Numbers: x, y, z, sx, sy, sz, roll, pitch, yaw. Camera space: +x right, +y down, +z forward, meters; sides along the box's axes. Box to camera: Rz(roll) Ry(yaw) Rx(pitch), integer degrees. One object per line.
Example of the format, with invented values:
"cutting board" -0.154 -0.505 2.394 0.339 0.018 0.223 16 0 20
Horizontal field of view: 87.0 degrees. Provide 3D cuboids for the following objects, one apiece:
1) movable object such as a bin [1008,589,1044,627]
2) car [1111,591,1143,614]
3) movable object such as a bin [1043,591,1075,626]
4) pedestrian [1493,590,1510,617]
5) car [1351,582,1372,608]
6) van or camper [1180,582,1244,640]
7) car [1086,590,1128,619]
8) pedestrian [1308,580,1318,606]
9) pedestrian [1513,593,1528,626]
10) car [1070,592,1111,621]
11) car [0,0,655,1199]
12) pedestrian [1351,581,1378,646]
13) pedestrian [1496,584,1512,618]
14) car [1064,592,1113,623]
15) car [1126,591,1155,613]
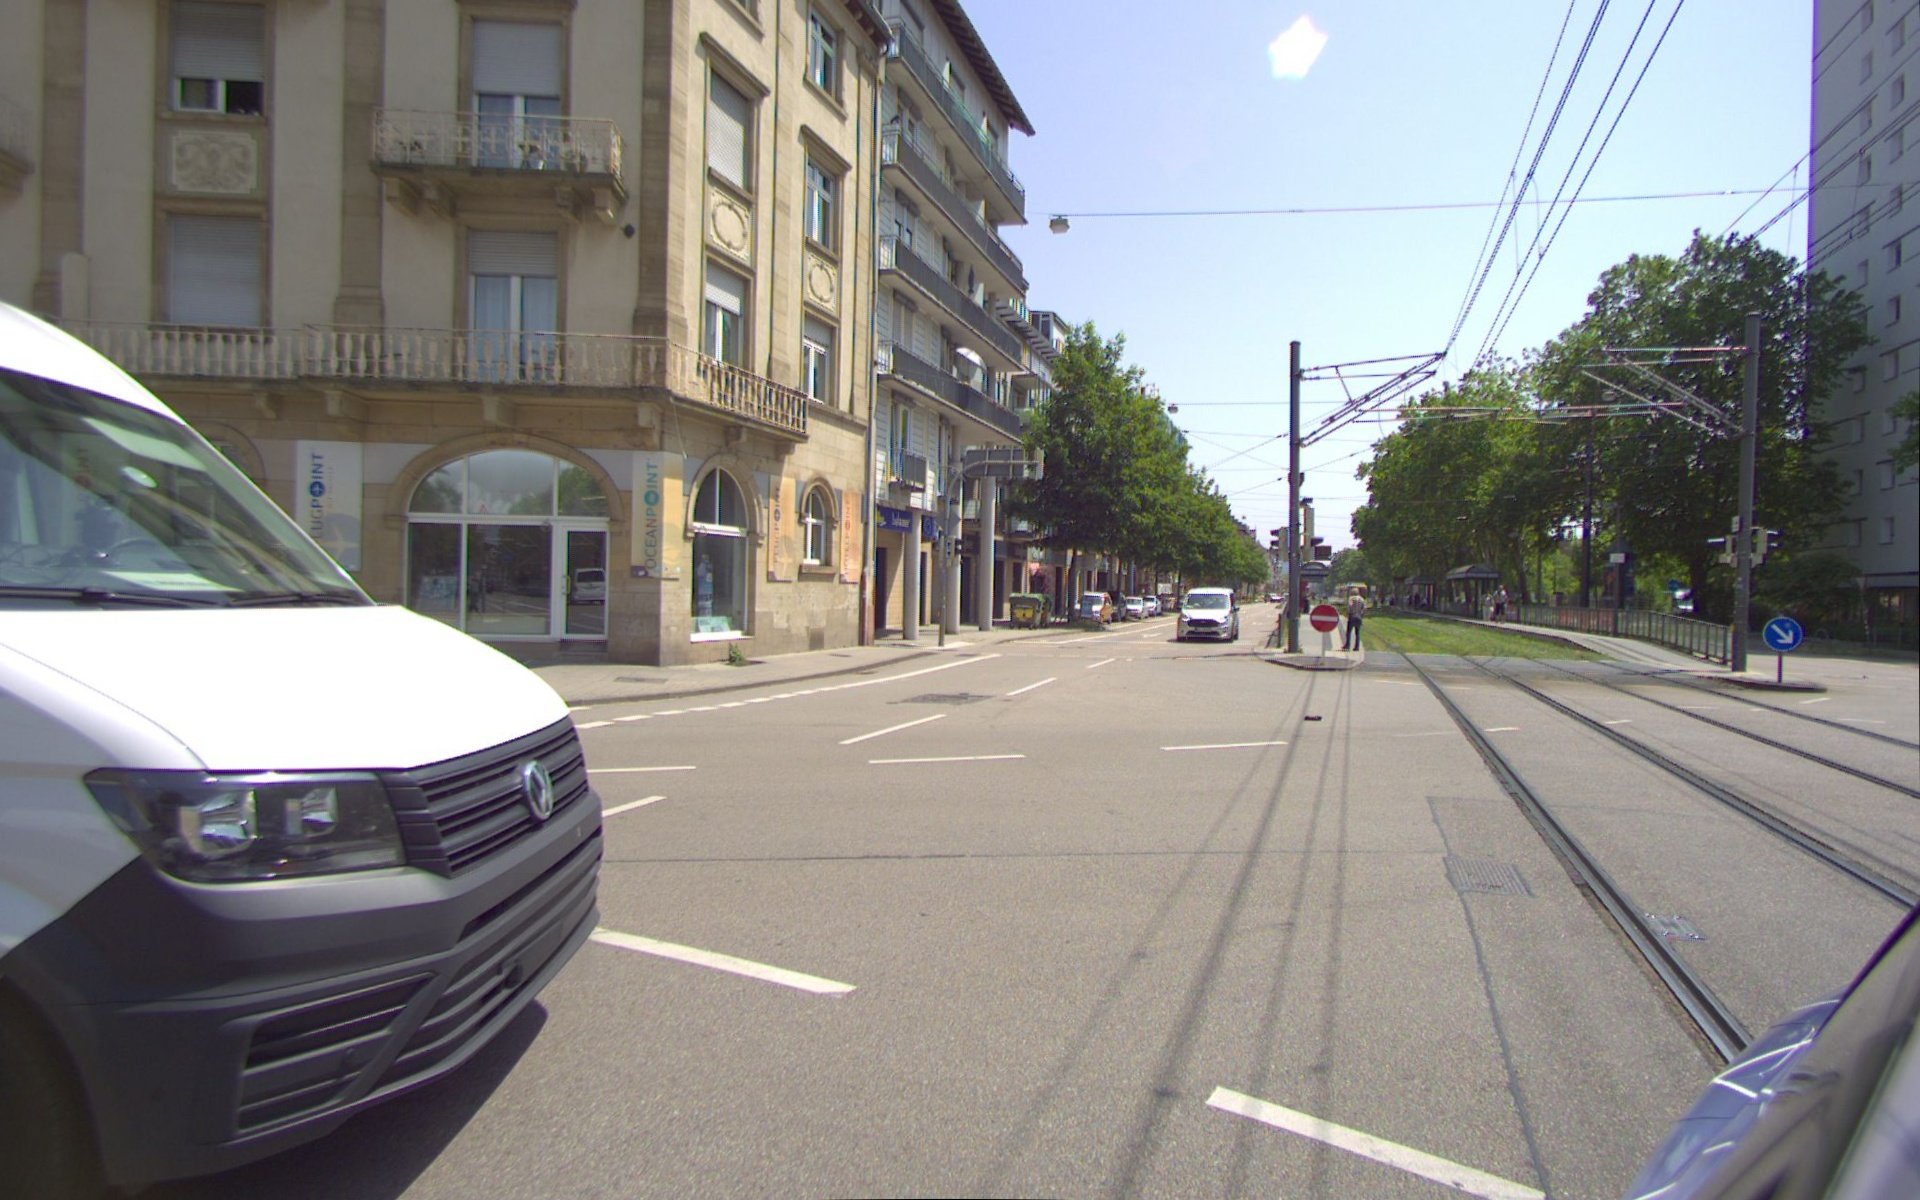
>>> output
"movable object such as a bin" 2.650 0.310 40.804 1.201 1.454 1.001 1 1 23
"car" 10.877 0.142 65.743 1.663 1.460 3.459 1 1 16
"movable object such as a bin" 4.176 0.339 42.657 1.197 1.454 1.004 1 1 14
"pedestrian" 27.986 0.173 52.277 0.671 1.366 0.628 1 0 19
"car" 56.375 -0.716 142.257 2.248 3.380 11.954 1 1 20
"van or camper" 8.526 0.314 34.032 1.744 1.780 4.565 0 1 19
"car" 8.565 0.230 58.608 1.866 1.550 3.979 1 1 16
"pedestrian" 22.556 -0.448 64.643 0.543 1.626 0.550 1 0 19
"pedestrian" 27.771 0.451 50.148 0.540 1.600 0.512 1 0 19
"car" 6.927 0.322 53.447 1.663 1.460 3.459 1 1 16
"car" -4.435 -0.024 2.872 6.503 2.670 2.079 1 1 -3
"pedestrian" 11.006 0.361 27.530 0.672 1.727 0.549 1 0 23
"pedestrian" 26.305 0.045 48.961 0.546 1.626 0.676 1 0 19
"car" 6.869 0.352 53.728 1.972 1.550 3.979 1 1 17
"car" 12.686 0.092 70.883 1.663 1.460 3.459 1 1 16
